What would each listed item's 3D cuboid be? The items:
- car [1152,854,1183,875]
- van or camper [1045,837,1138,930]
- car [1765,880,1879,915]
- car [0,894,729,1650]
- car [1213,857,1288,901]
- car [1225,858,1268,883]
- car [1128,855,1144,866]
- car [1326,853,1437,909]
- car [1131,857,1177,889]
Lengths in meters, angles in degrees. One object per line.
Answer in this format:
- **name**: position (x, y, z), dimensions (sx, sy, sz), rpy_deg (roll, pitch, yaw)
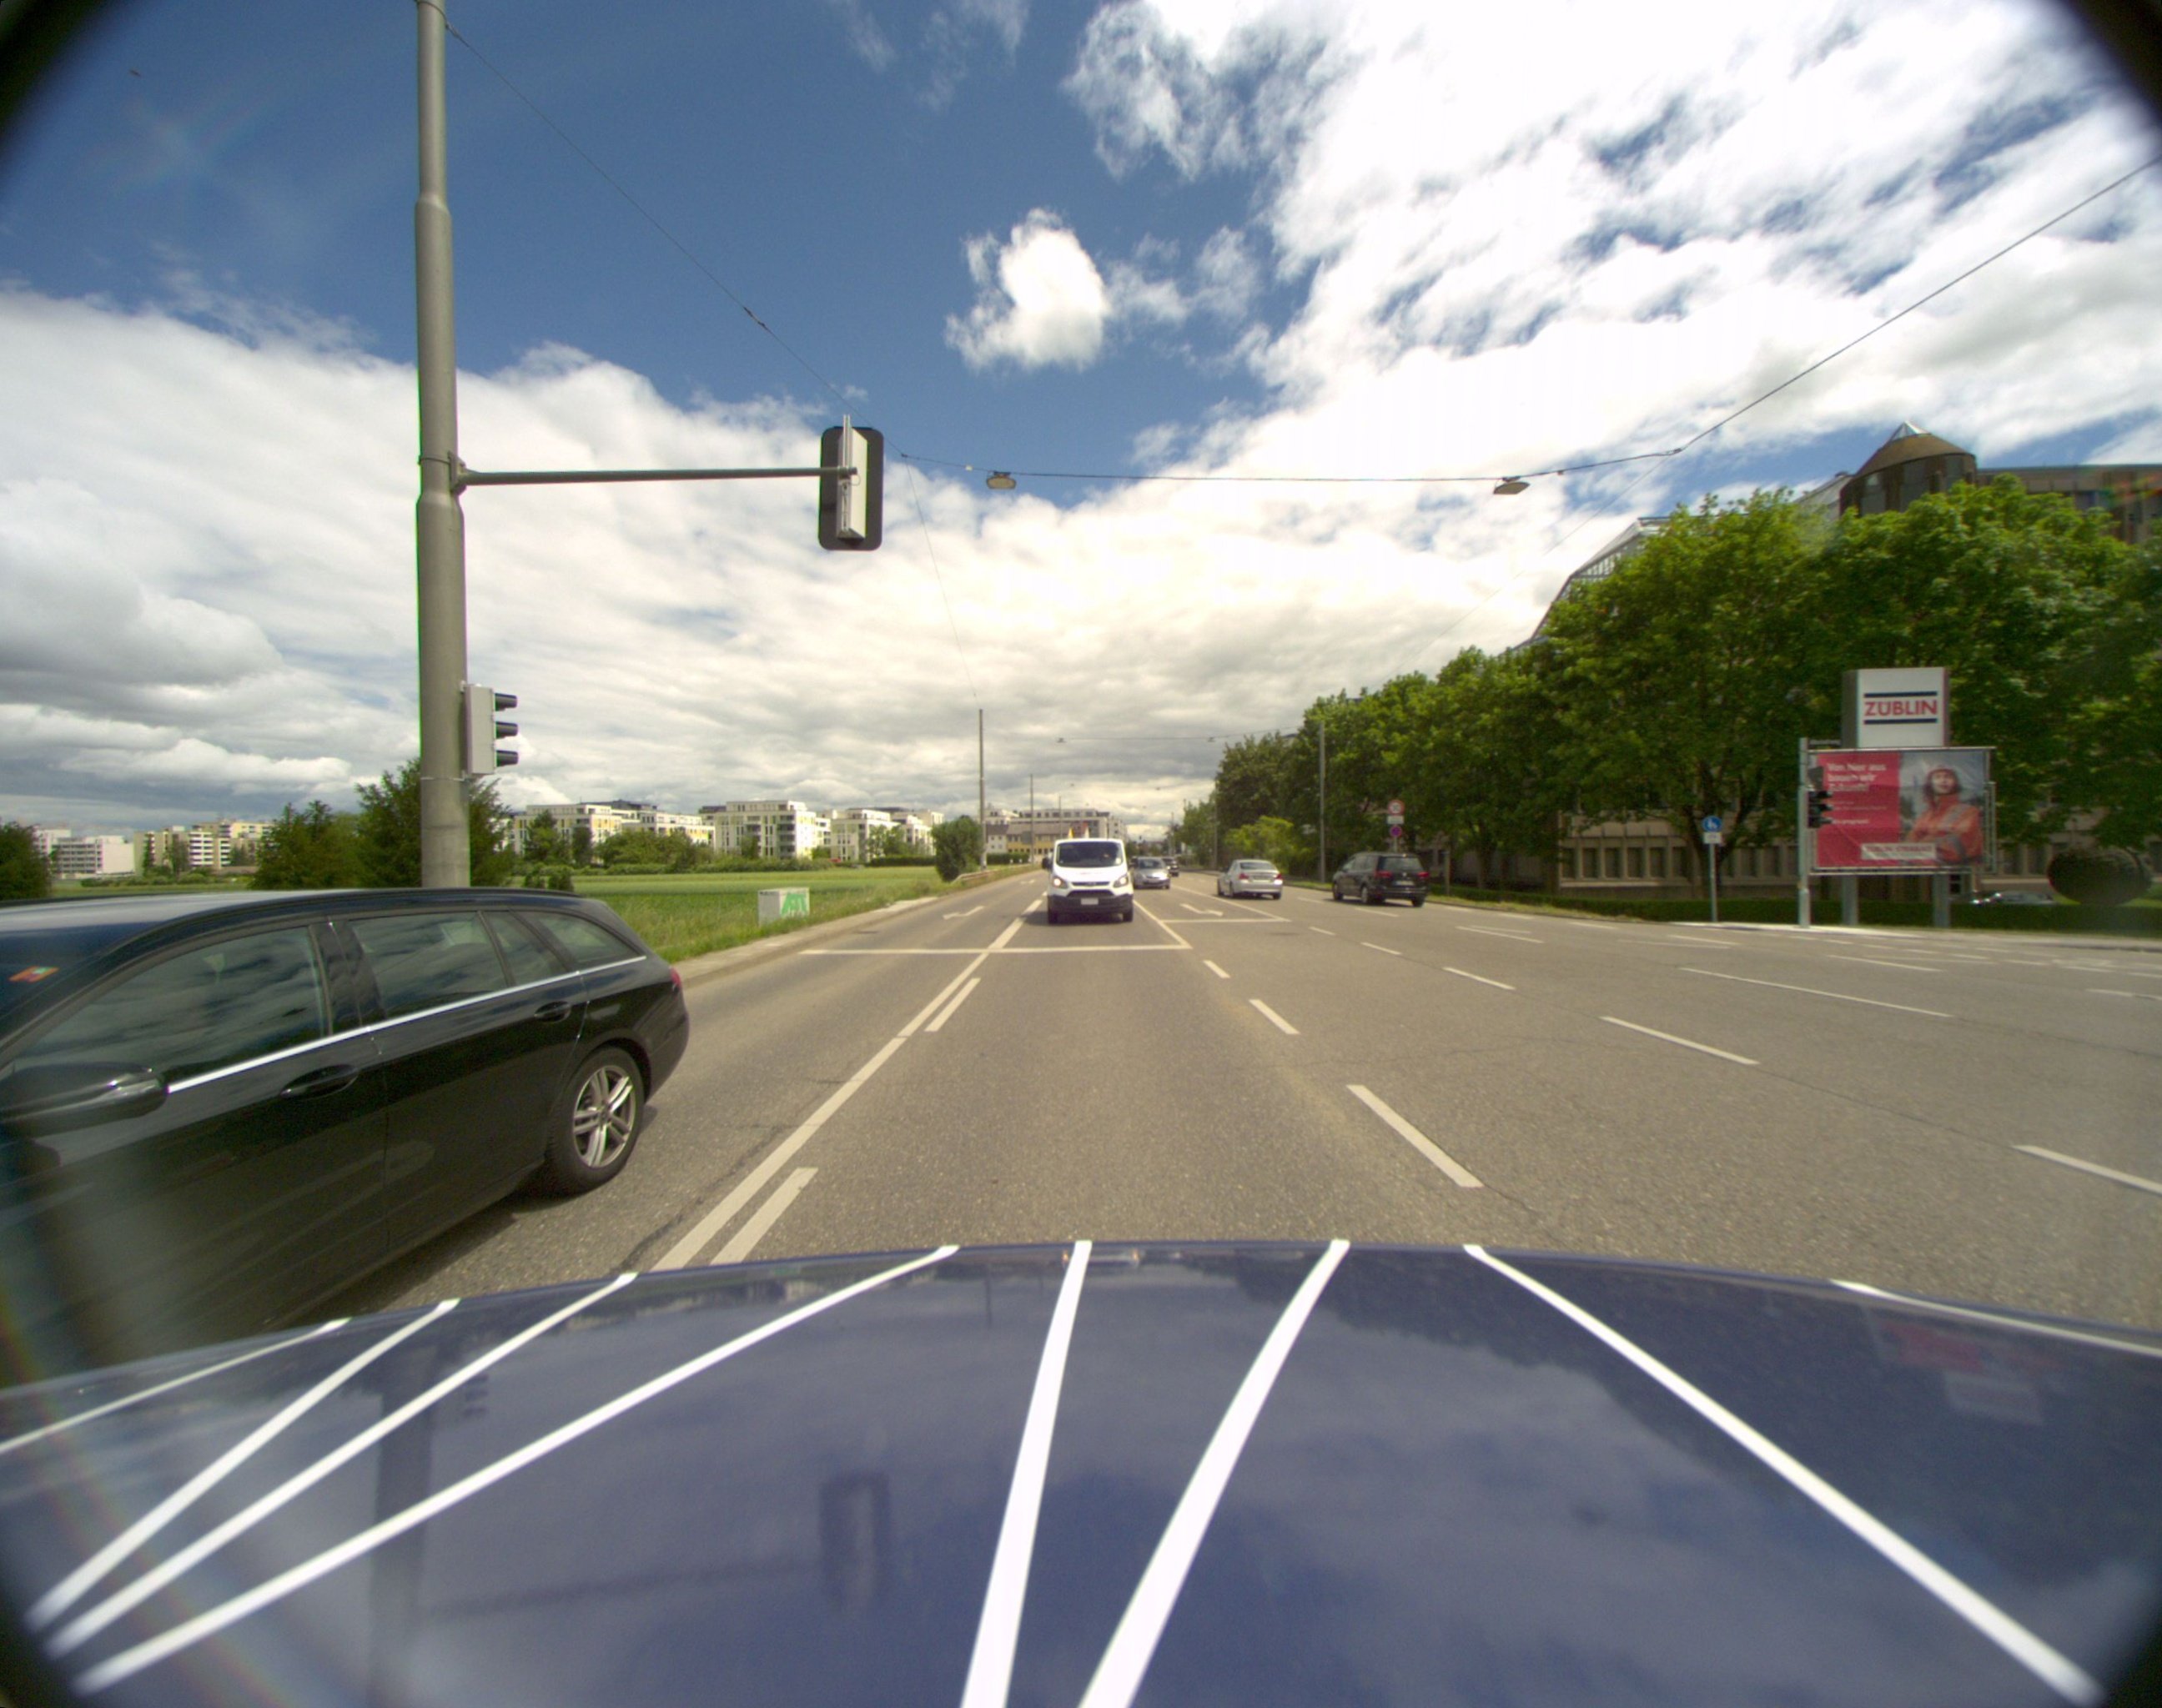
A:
- **car**: position (6.999, 0.803, 62.045), dimensions (1.998, 1.608, 4.306), rpy_deg (-1, 0, 0)
- **van or camper**: position (0.235, 0.637, 19.424), dimensions (1.998, 2.002, 5.799), rpy_deg (-1, 0, 0)
- **car**: position (29.008, 1.679, 29.784), dimensions (3.174, 1.198, 1.534), rpy_deg (-1, 1, -7)
- **car**: position (-3.247, 0.991, 2.340), dimensions (1.877, 1.432, 5.199), rpy_deg (-1, 0, 0)
- **car**: position (6.188, 0.852, 28.206), dimensions (1.796, 1.439, 4.422), rpy_deg (-1, 0, 1)
- **car**: position (10.097, 0.996, 46.637), dimensions (1.784, 1.407, 3.999), rpy_deg (0, 0, 0)
- **car**: position (7.302, 0.823, 100.537), dimensions (1.800, 1.445, 4.000), rpy_deg (1, 0, 0)
- **car**: position (9.901, 0.824, 25.481), dimensions (1.998, 1.692, 4.761), rpy_deg (-1, 0, 3)
- **car**: position (3.446, 0.869, 36.520), dimensions (1.894, 1.433, 4.000), rpy_deg (-1, 0, 1)
